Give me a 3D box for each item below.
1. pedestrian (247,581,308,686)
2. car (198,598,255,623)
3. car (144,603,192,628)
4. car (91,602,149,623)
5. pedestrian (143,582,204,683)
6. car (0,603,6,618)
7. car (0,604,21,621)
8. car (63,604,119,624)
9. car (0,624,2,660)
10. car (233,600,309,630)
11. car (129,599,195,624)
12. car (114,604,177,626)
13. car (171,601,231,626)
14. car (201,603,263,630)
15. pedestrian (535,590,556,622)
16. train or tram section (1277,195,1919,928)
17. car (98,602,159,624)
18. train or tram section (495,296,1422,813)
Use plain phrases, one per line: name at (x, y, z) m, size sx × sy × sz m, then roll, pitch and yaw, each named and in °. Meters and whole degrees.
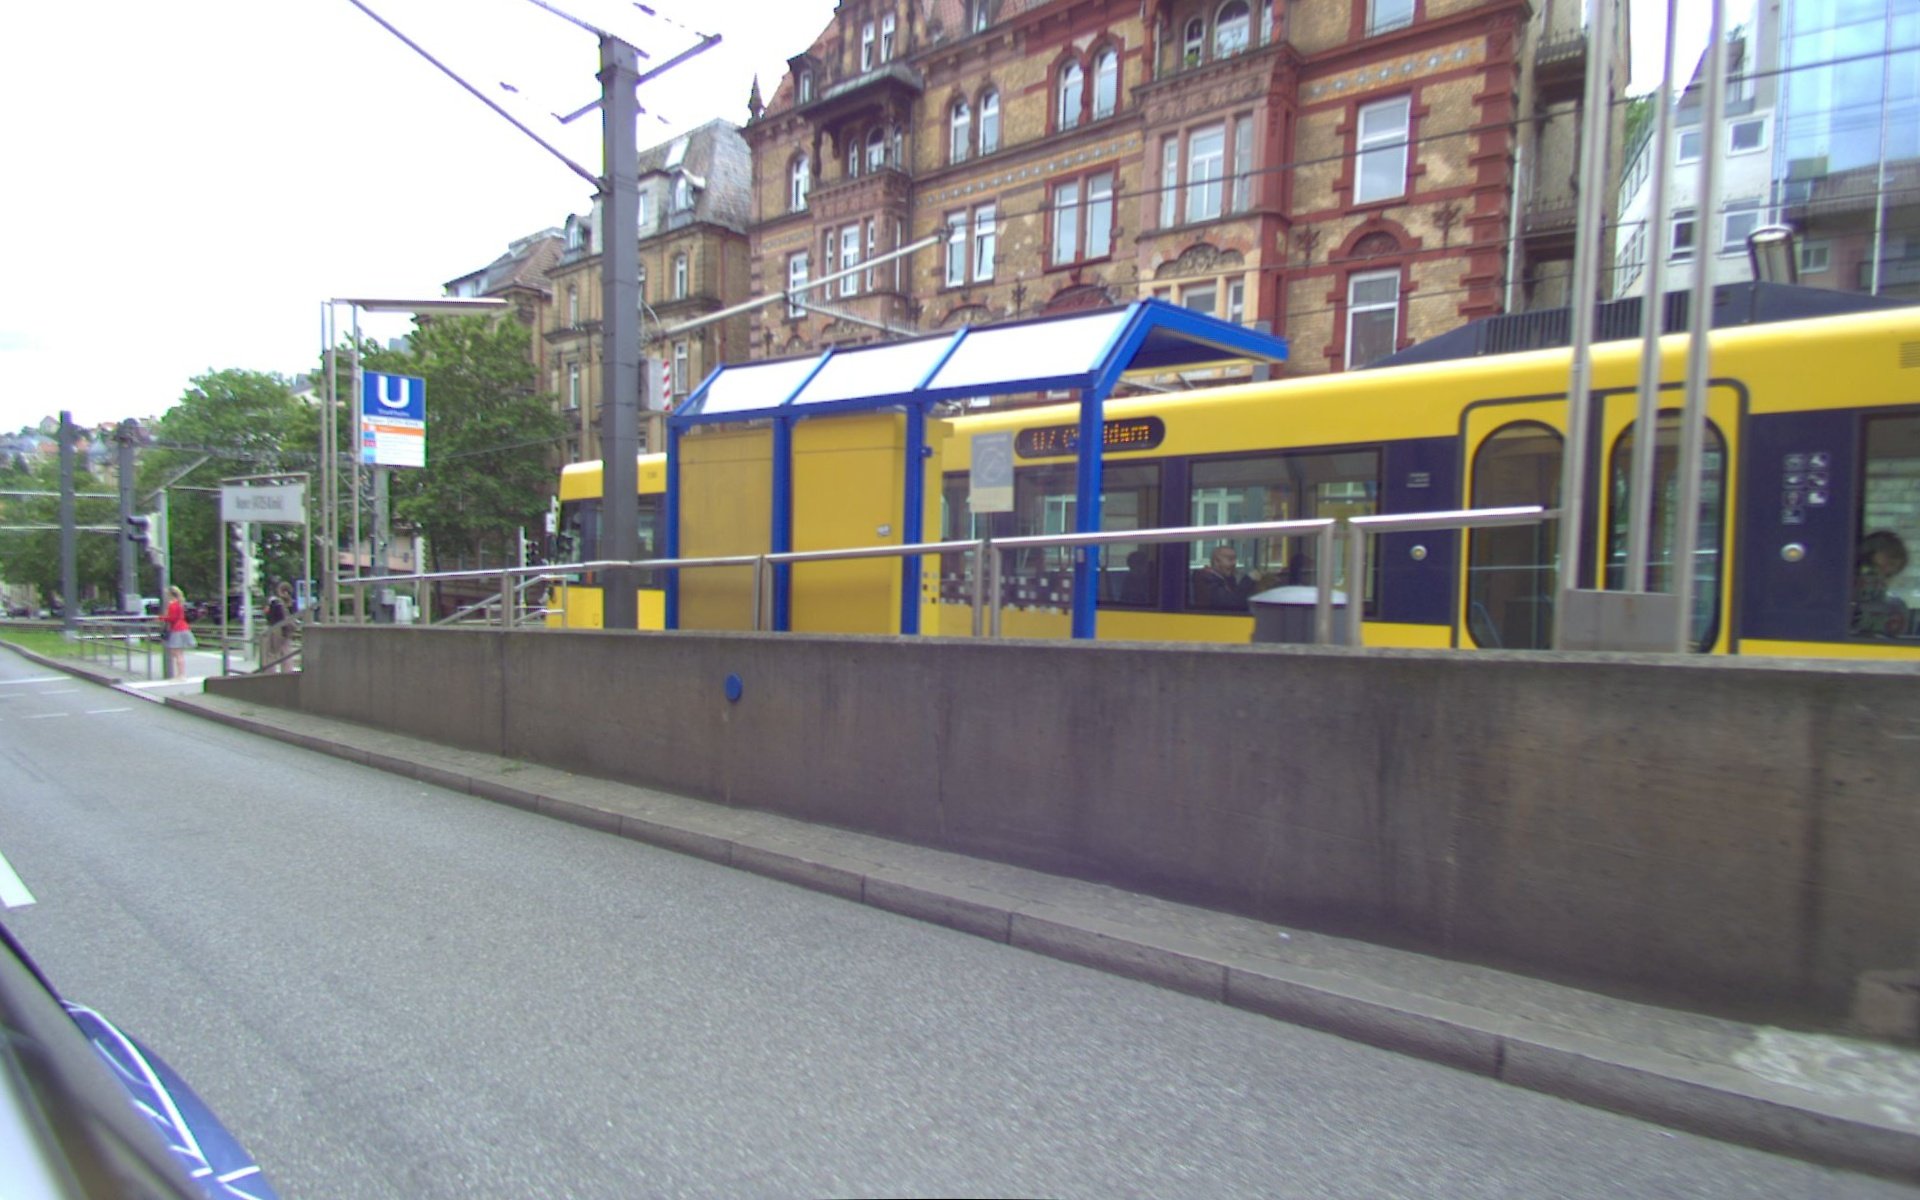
pedestrian at (-11.464, 0.543, 16.997) m, size 0.658 × 1.708 × 0.616 m, roll 0°, pitch 1°, yaw 32°
car at (-51.960, 0.738, 71.771) m, size 1.756 × 1.700 × 3.865 m, roll -1°, pitch 0°, yaw -9°
car at (-59.539, 1.130, 76.128) m, size 1.754 × 1.700 × 3.871 m, roll -1°, pitch 1°, yaw -21°
car at (-78.431, 1.160, 94.562) m, size 1.775 × 1.828 × 3.824 m, roll -1°, pitch 0°, yaw 26°
pedestrian at (-13.681, 0.550, 17.602) m, size 0.684 × 1.693 × 0.671 m, roll -1°, pitch 1°, yaw 39°
car at (-131.947, 1.473, 138.367) m, size 4.000 × 2.029 × 1.972 m, roll -1°, pitch 0°, yaw 43°
car at (-121.916, 1.624, 129.415) m, size 3.991 × 2.029 × 1.976 m, roll -1°, pitch 0°, yaw 35°
car at (-85.411, 1.369, 99.486) m, size 1.775 × 1.828 × 3.824 m, roll -1°, pitch 0°, yaw 26°
car at (-26.044, 0.868, 25.664) m, size 4.225 × 1.408 × 1.974 m, roll -1°, pitch 2°, yaw 39°
car at (-42.782, 0.890, 62.942) m, size 1.764 × 1.700 × 3.847 m, roll -1°, pitch 1°, yaw 9°
car at (-64.044, 0.905, 81.303) m, size 1.770 × 1.828 × 3.835 m, roll -1°, pitch 0°, yaw 18°
car at (-70.005, 1.279, 87.045) m, size 1.775 × 1.827 × 3.825 m, roll 0°, pitch 1°, yaw 26°
car at (-54.371, 0.978, 72.576) m, size 1.756 × 1.700 × 3.865 m, roll -1°, pitch 0°, yaw -8°
car at (-47.723, 1.063, 66.454) m, size 1.756 × 1.700 × 3.865 m, roll -1°, pitch 0°, yaw -9°
pedestrian at (-20.297, 0.282, 49.559) m, size 0.740 × 1.524 × 0.680 m, roll -1°, pitch 0°, yaw 43°
train or tram section at (7.747, -0.046, 3.959) m, size 12.217 × 3.497 × 2.918 m, roll 4°, pitch 3°, yaw 42°
car at (-74.456, 1.177, 90.639) m, size 1.775 × 1.828 × 3.824 m, roll -1°, pitch 0°, yaw 26°
train or tram section at (-1.430, -0.542, 12.223) m, size 12.396 × 3.569 × 2.918 m, roll 3°, pitch 3°, yaw 42°
